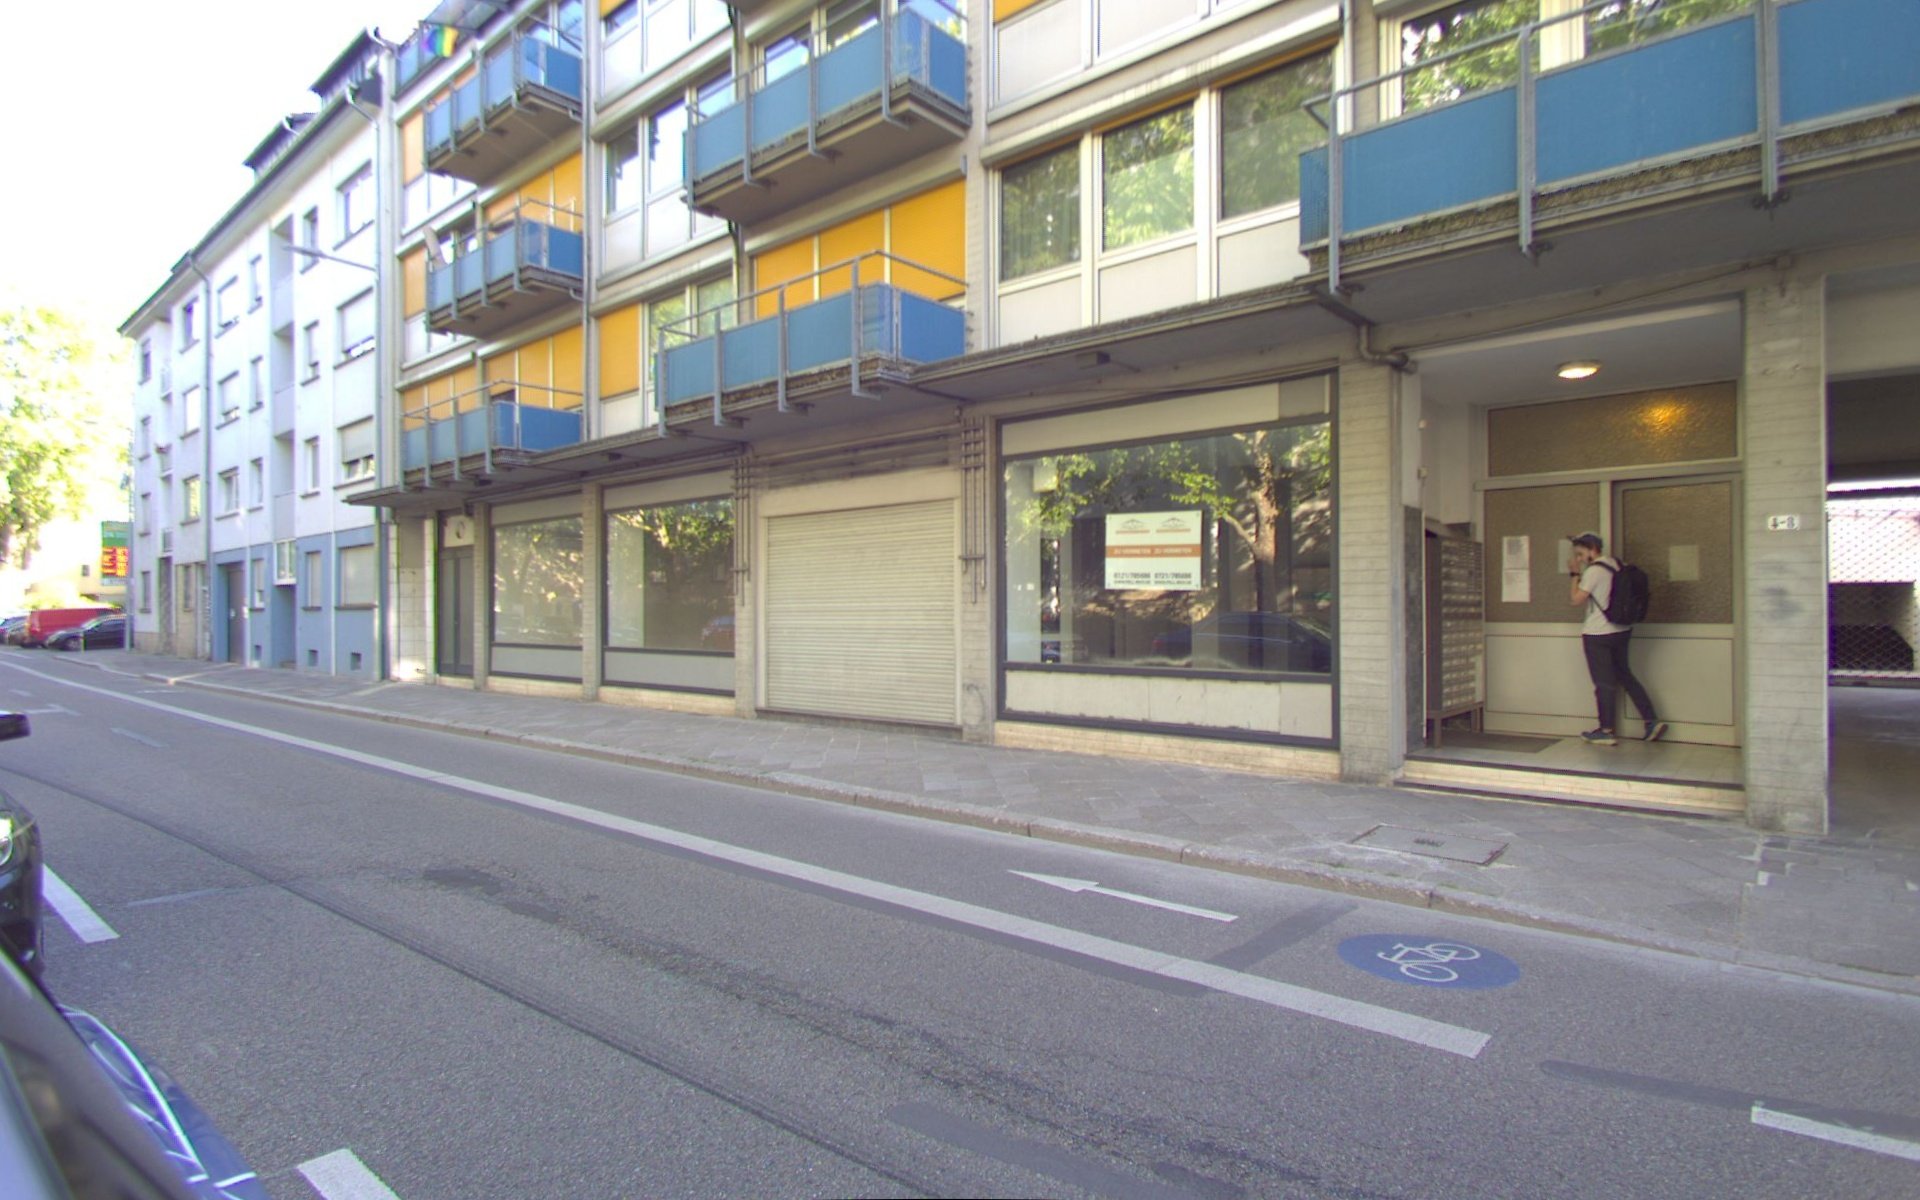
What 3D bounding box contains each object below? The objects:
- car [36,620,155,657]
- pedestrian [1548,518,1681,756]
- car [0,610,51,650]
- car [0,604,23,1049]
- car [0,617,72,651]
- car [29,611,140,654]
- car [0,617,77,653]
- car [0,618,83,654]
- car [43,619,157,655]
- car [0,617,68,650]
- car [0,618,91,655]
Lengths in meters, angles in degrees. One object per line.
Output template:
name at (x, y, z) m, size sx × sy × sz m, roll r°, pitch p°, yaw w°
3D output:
car at (-39.749, 1.731, 46.599) m, size 2.000 × 1.564 × 3.944 m, roll -1°, pitch 0°, yaw 42°
pedestrian at (5.443, 0.297, 8.454) m, size 0.780 × 1.894 × 0.578 m, roll -1°, pitch 0°, yaw 19°
car at (-62.790, 1.964, 66.779) m, size 2.000 × 2.538 × 3.944 m, roll -1°, pitch 0°, yaw 42°
car at (-5.516, 0.810, 4.272) m, size 4.479 × 1.512 × 1.842 m, roll -1°, pitch -1°, yaw 41°
car at (-57.399, 2.093, 62.277) m, size 2.000 × 1.962 × 3.944 m, roll -1°, pitch 0°, yaw 42°
car at (-43.422, 1.579, 50.245) m, size 2.000 × 1.962 × 3.944 m, roll -1°, pitch 0°, yaw 42°
car at (-55.593, 2.070, 60.559) m, size 2.000 × 1.962 × 3.944 m, roll -1°, pitch 0°, yaw 42°
car at (-53.512, 2.043, 58.606) m, size 2.000 × 1.962 × 3.944 m, roll -1°, pitch 0°, yaw 42°
car at (-41.167, 1.749, 48.520) m, size 2.000 × 1.564 × 3.944 m, roll -1°, pitch 0°, yaw 42°
car at (-59.199, 2.117, 64.010) m, size 2.000 × 1.962 × 3.944 m, roll -1°, pitch 0°, yaw 42°
car at (-51.562, 2.017, 56.823) m, size 2.000 × 1.962 × 3.944 m, roll -1°, pitch 0°, yaw 42°
